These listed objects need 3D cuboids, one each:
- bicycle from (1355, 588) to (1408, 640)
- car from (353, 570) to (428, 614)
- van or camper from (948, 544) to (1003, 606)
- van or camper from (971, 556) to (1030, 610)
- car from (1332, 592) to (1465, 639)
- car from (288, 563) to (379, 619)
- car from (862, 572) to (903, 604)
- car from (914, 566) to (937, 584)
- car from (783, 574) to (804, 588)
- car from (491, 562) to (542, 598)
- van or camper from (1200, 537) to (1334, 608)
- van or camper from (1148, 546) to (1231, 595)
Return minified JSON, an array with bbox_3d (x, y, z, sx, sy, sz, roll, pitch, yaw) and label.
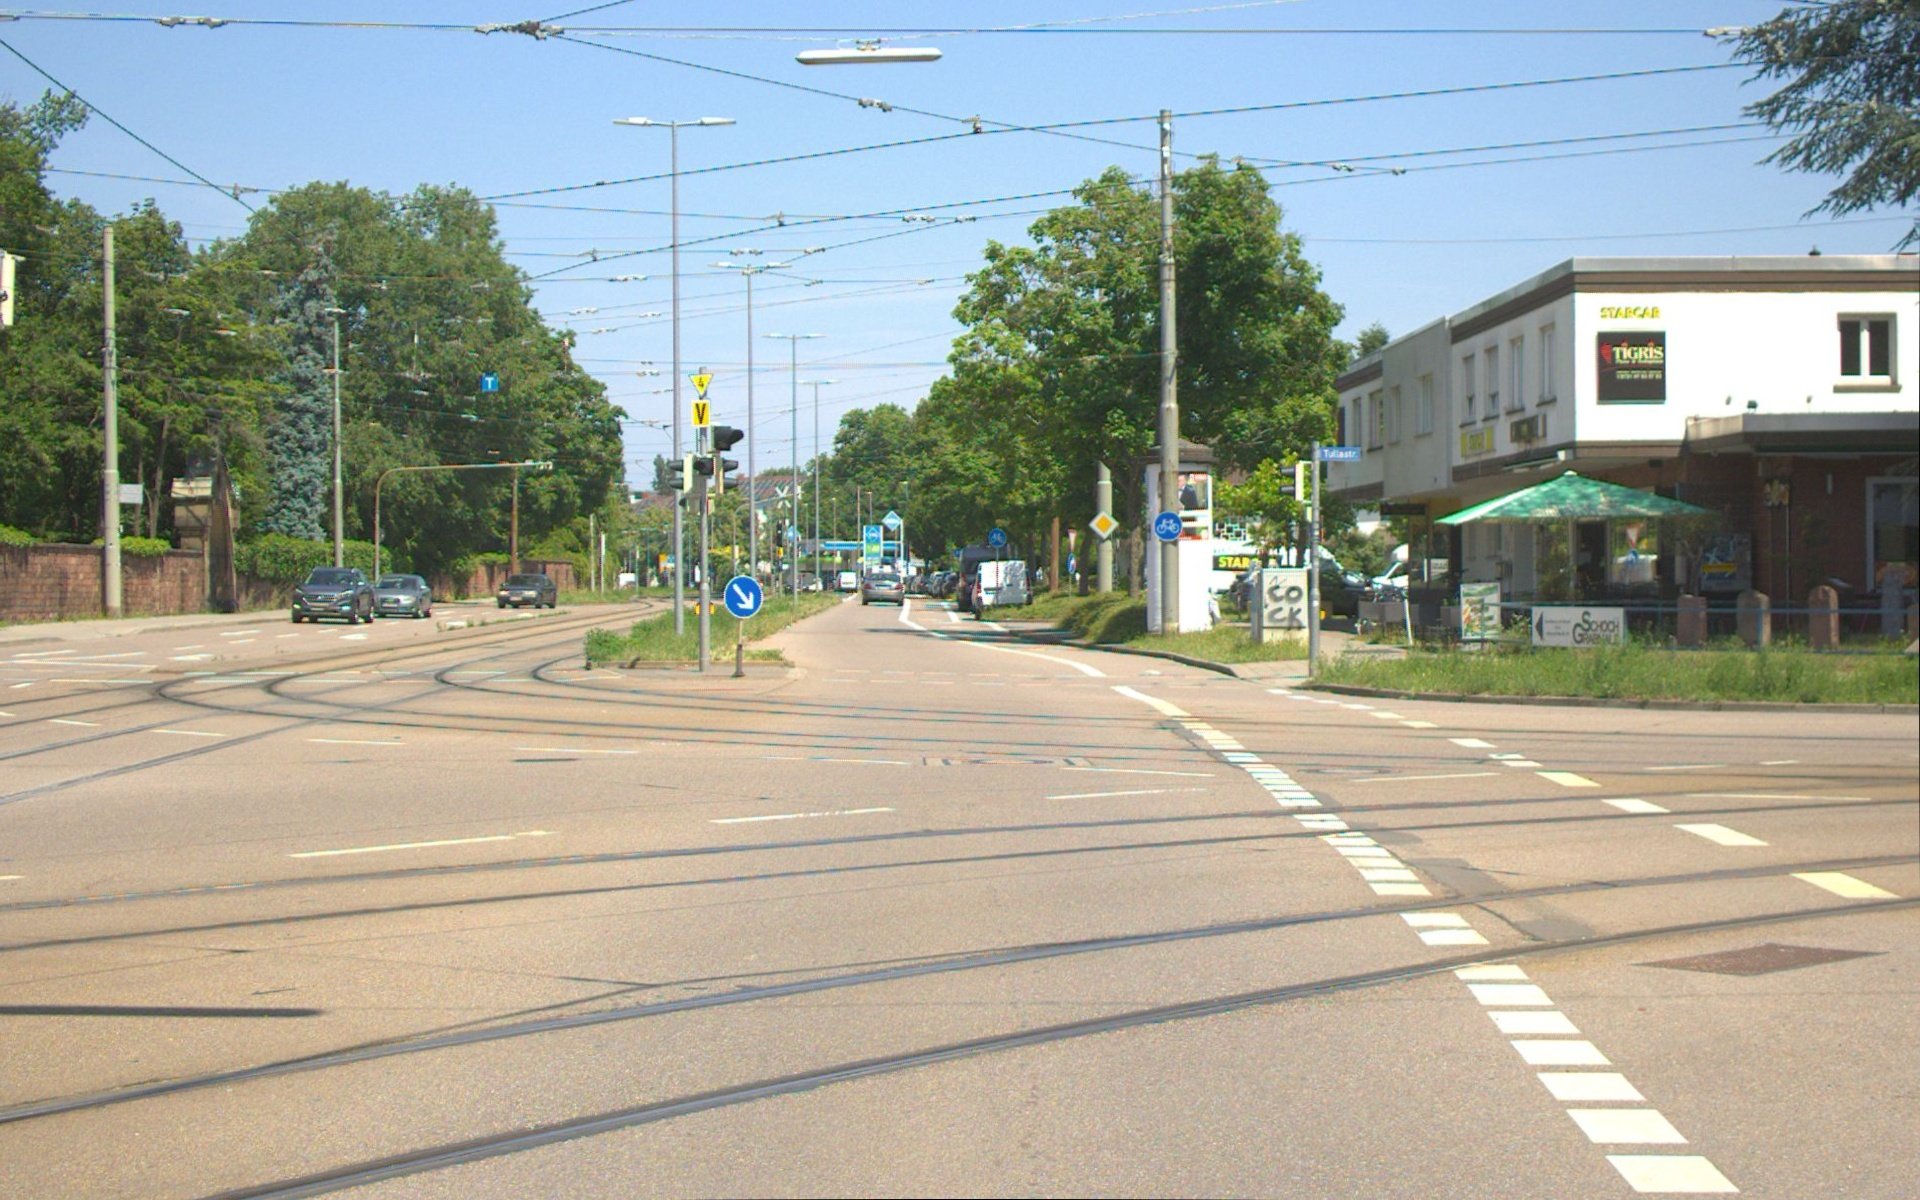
[{"bbox_3d":[8.512,0.266,69.548,1.034,1.011,2.636,0,1,6],"label":"bicycle"},{"bbox_3d":[-18.679,-0.276,112.861,1.641,1.416,4.167,0,0,2],"label":"car"},{"bbox_3d":[0.610,-1.025,138.164,1.993,2.456,4.001,0,0,-3],"label":"van or camper"},{"bbox_3d":[1.354,-0.577,115.800,1.922,1.766,4.000,0,0,0],"label":"van or camper"},{"bbox_3d":[12.747,0.452,100.032,3.606,1.346,1.491,0,0,-7],"label":"car"},{"bbox_3d":[-18.271,-0.264,100.431,1.820,1.598,4.520,0,0,0],"label":"car"},{"bbox_3d":[-3.375,-0.520,148.547,1.636,1.346,3.842,0,0,-3],"label":"car"},{"bbox_3d":[-2.546,-1.859,250.817,1.523,1.292,3.493,0,1,-3],"label":"car"},{"bbox_3d":[-12.501,-1.403,258.375,1.492,1.043,3.580,0,0,-1],"label":"car"},{"bbox_3d":[-18.108,-0.837,140.510,1.641,1.395,4.116,2,1,-2],"label":"car"},{"bbox_3d":[11.469,-1.027,128.713,4.756,2.662,2.136,0,0,-2],"label":"van or camper"},{"bbox_3d":[10.202,-1.310,153.150,3.557,2.138,1.603,0,0,-2],"label":"van or camper"}]
